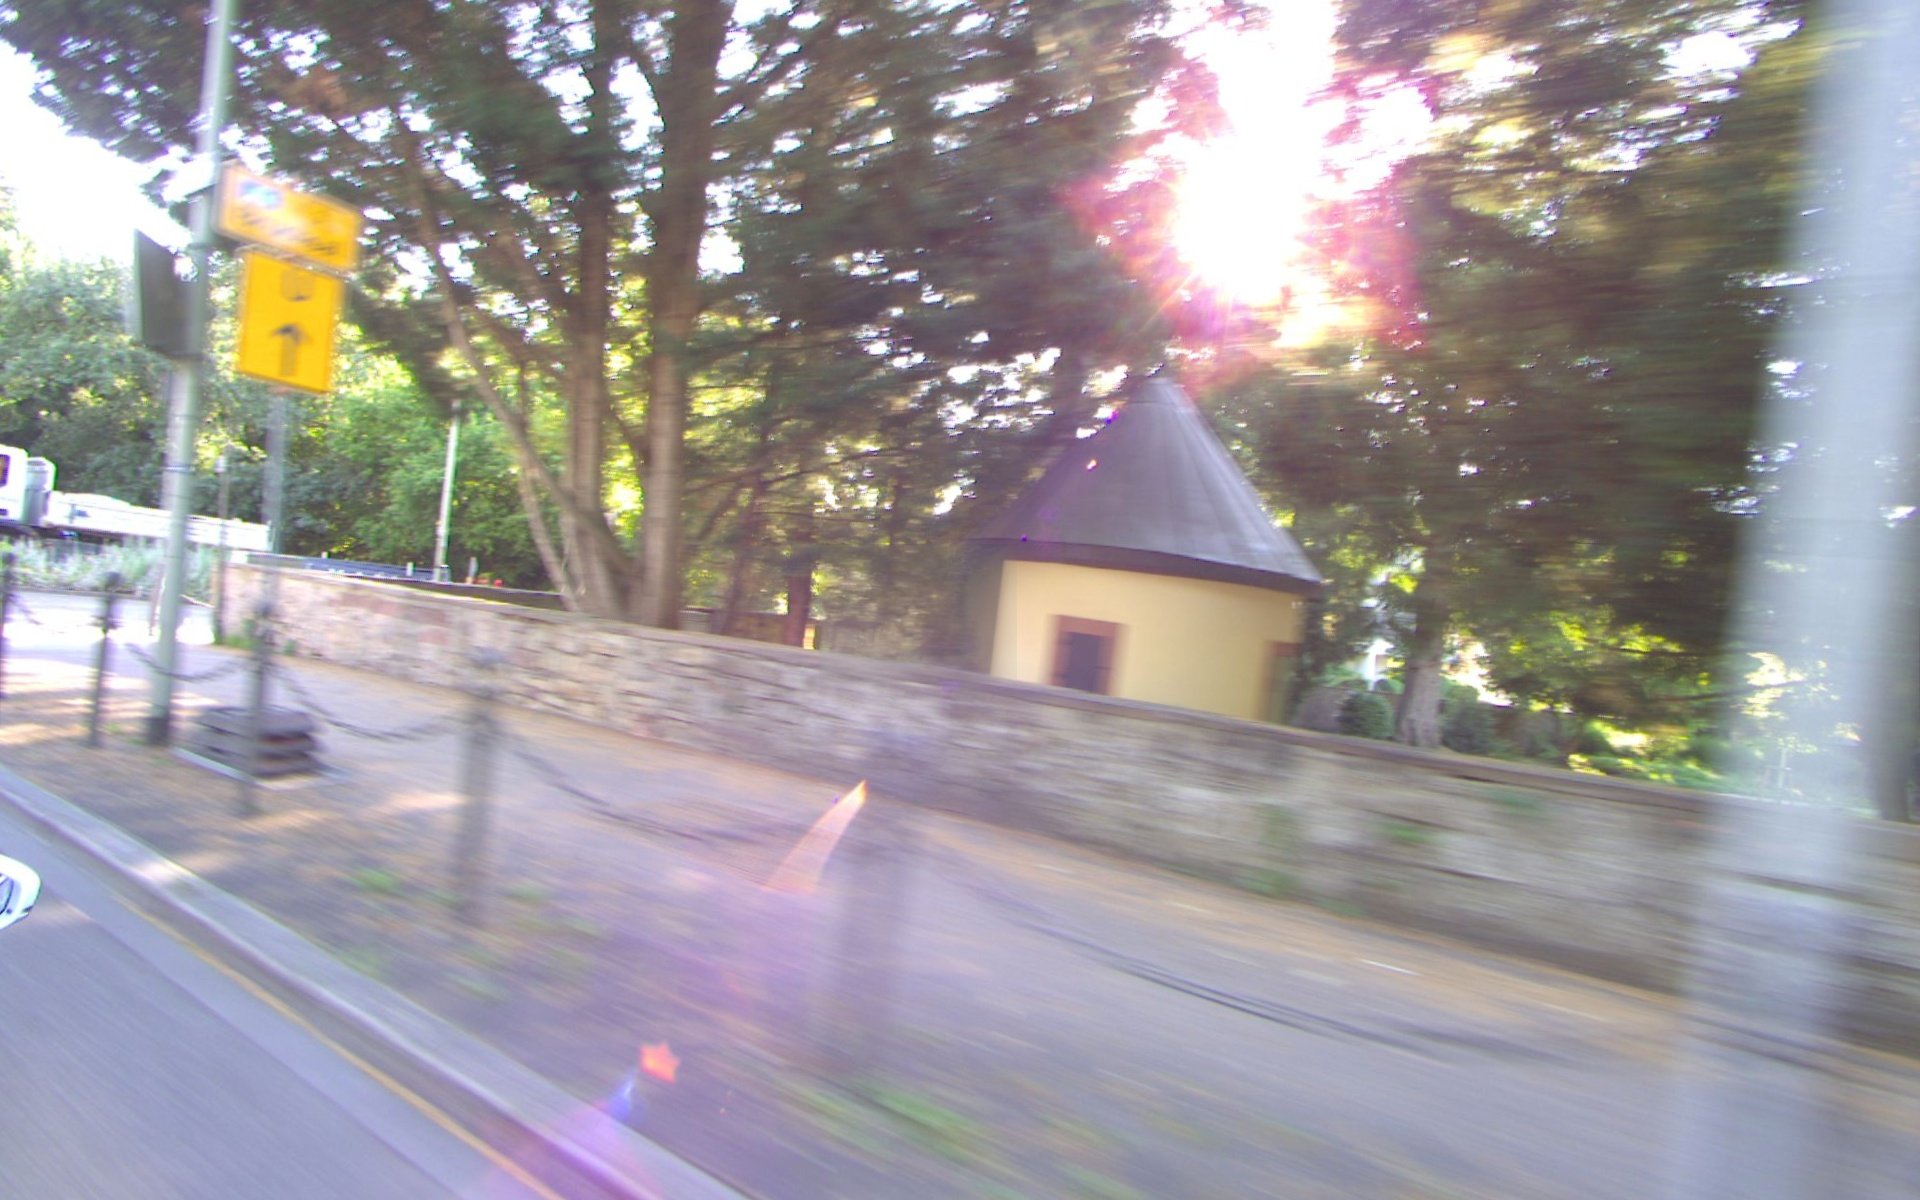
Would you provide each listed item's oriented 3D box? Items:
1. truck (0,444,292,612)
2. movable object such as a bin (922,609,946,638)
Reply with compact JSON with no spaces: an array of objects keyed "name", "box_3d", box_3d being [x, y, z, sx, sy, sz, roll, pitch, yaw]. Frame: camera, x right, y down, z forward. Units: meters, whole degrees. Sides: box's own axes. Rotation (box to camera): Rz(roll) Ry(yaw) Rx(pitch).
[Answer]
[{"name":"truck","box_3d":[-19.834,-1.639,23.307,2.397,2.927,6.591,6,-3,37]},{"name":"movable object such as a bin","box_3d":[-1.459,1.303,56.065,1.077,1.485,1.080,6,-2,-9]}]
